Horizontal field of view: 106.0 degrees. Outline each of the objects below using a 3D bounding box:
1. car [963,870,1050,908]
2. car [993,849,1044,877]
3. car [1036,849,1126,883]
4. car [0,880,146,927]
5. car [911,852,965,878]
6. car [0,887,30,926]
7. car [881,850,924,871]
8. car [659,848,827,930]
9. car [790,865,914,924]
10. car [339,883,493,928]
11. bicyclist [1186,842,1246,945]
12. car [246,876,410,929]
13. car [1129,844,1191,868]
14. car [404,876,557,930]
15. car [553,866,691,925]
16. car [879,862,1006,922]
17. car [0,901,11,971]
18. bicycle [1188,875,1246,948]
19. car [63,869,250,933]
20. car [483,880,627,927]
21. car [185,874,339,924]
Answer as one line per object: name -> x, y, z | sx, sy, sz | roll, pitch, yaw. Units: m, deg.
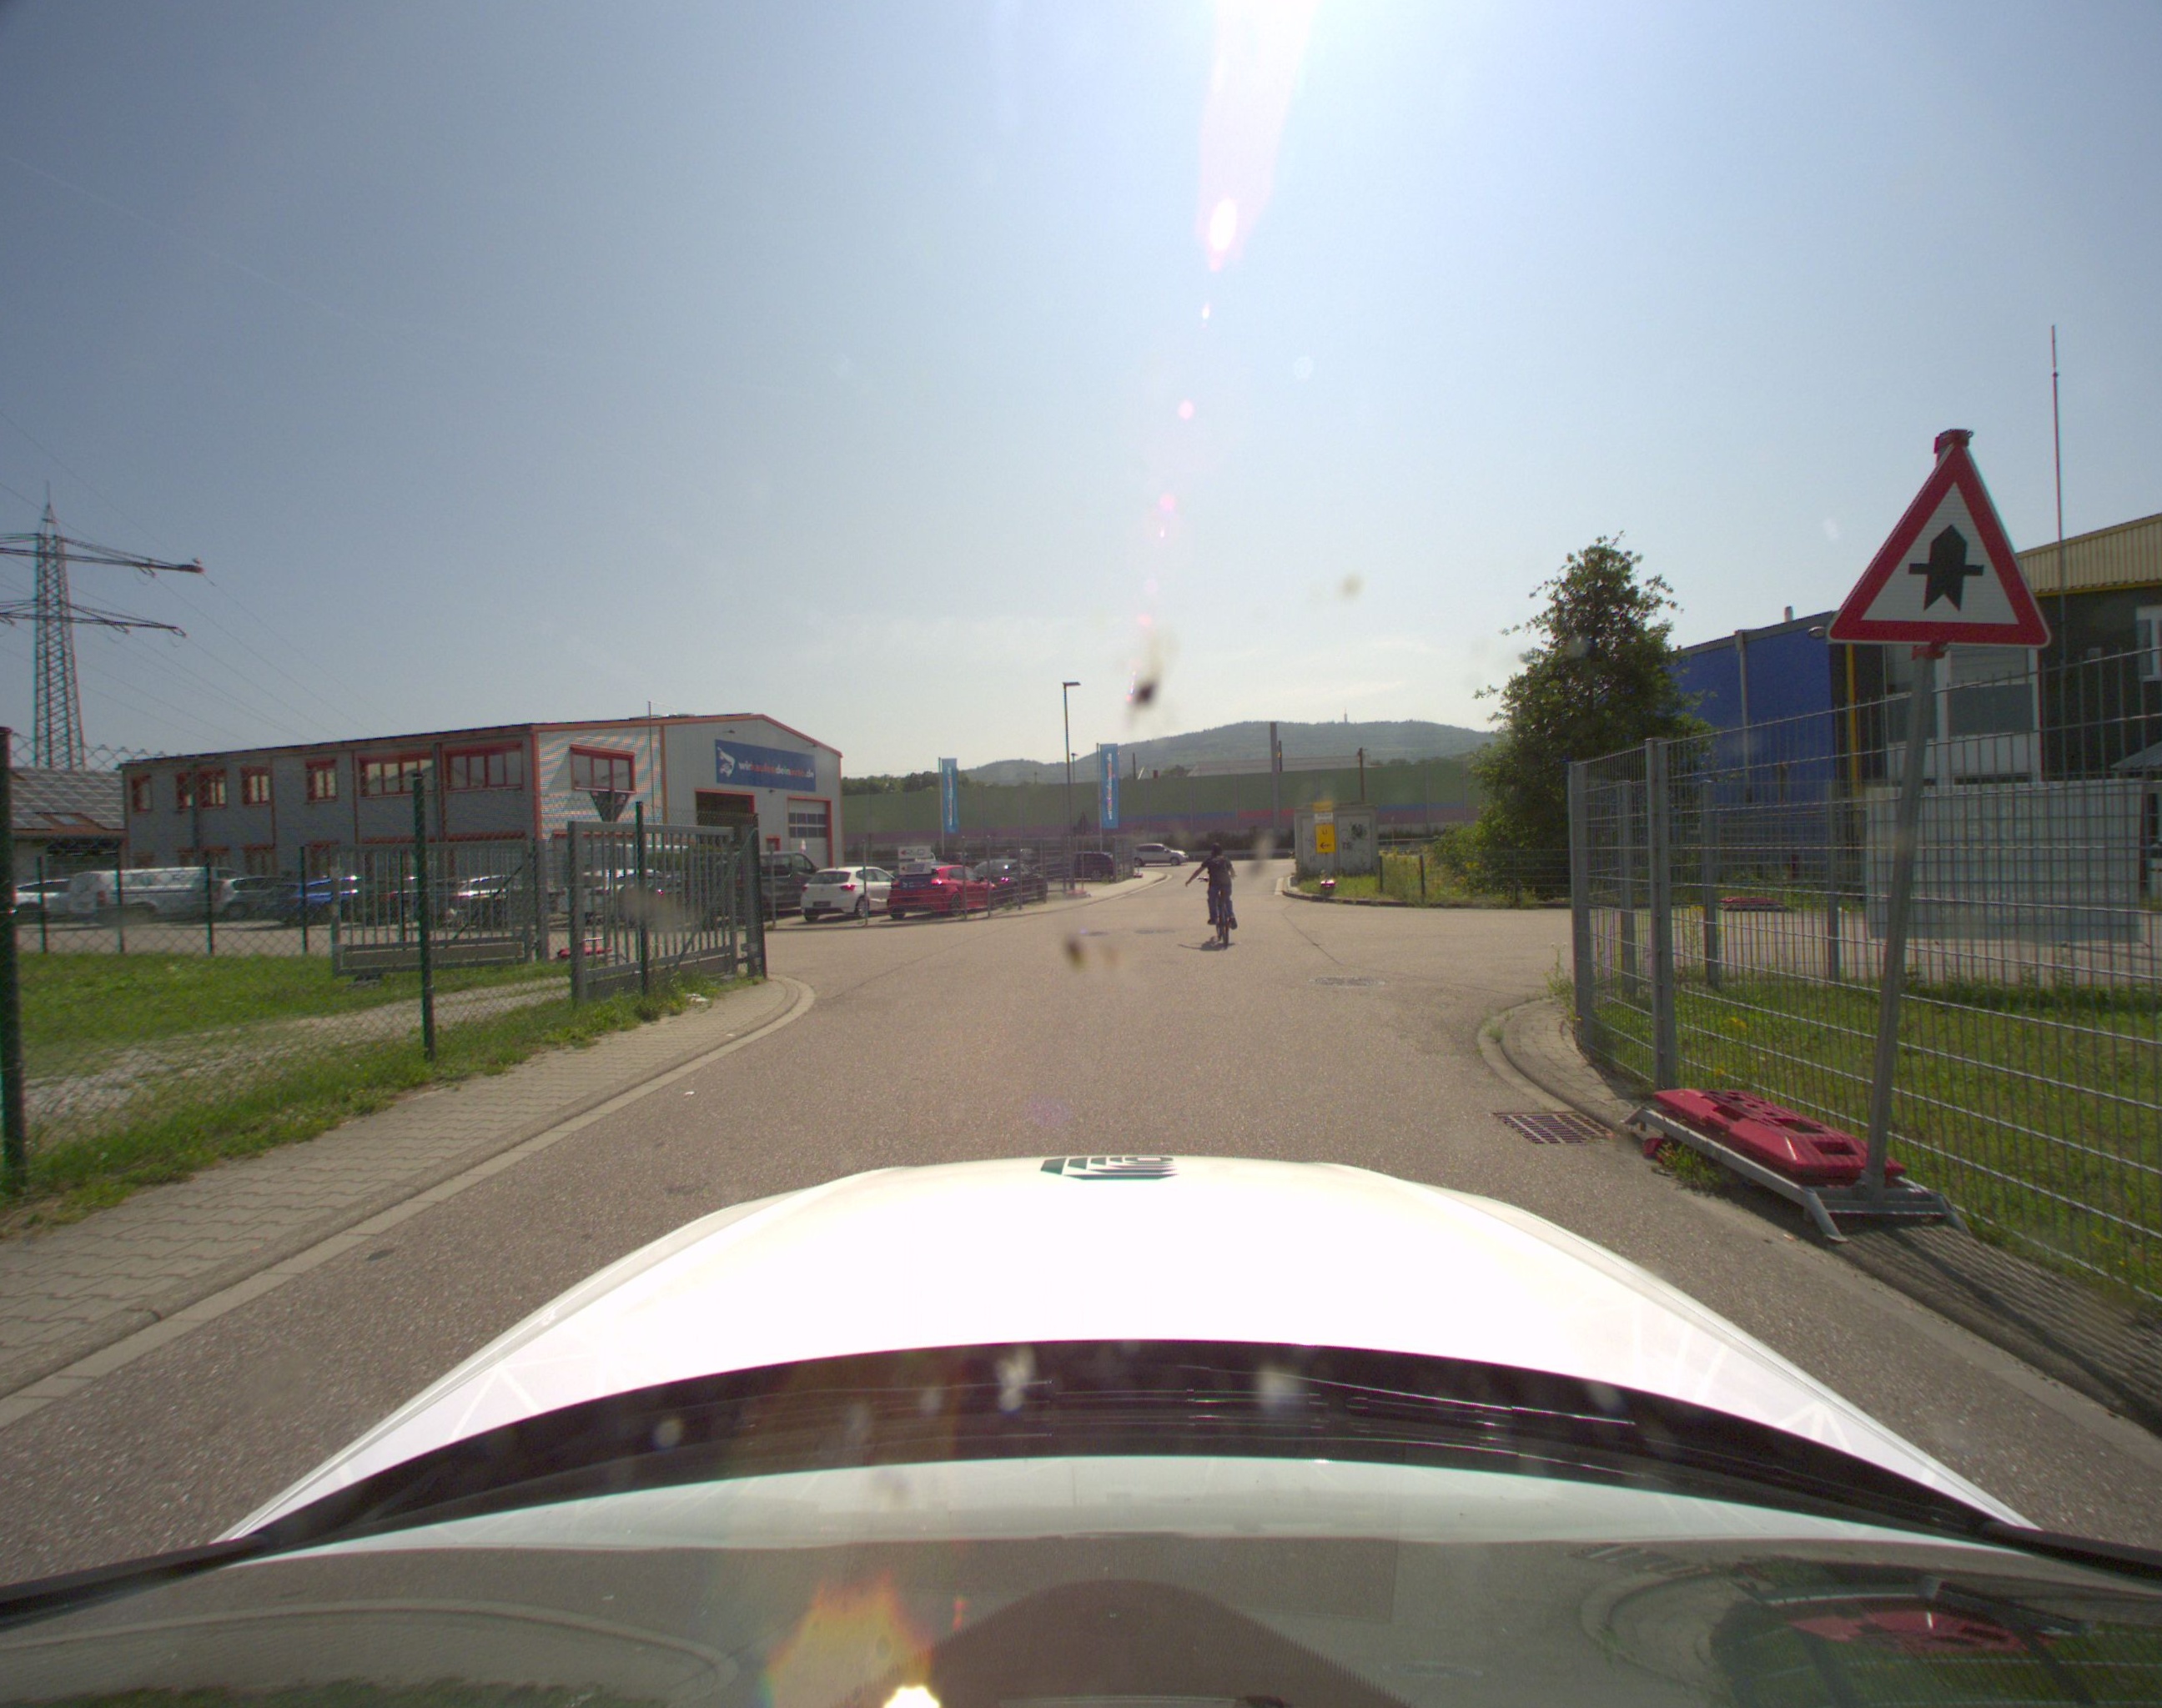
car -> -2.396, 1.135, 27.209 | 1.472, 1.007, 4.131 | -2, 0, 16
car -> -3.879, 0.509, 51.255 | 1.979, 1.581, 4.016 | -2, 0, 14
car -> 0.016, 0.586, 40.101 | 3.954, 1.492, 2.010 | -2, 0, 19
car -> -39.229, 1.873, 31.371 | 1.491, 1.516, 3.923 | -2, 0, 16
car -> -9.483, 0.693, 54.219 | 1.979, 1.581, 4.016 | -2, 0, 14
car -> -45.657, 2.225, 32.685 | 1.491, 1.559, 3.923 | -2, 0, 16
car -> -15.093, 0.555, 69.110 | 1.685, 1.657, 4.018 | -2, 0, 17
car -> -9.457, 0.902, 23.269 | 1.936, 2.030, 4.537 | -2, 0, 16
car -> -6.443, 1.112, 23.347 | 1.732, 1.404, 3.619 | -2, 0, 16
car -> -21.438, 1.619, 26.439 | 1.491, 1.151, 3.619 | -2, 0, 16
bicyclist -> 2.216, 0.635, 13.507 | 0.839, 1.618, 1.040 | -1, -1, 2
car -> -24.364, 1.527, 26.505 | 1.491, 1.416, 3.619 | -2, 0, 16
car -> 5.523, 0.105, 56.921 | 3.957, 1.492, 2.009 | -2, 0, 16
car -> -18.501, 1.462, 25.289 | 1.491, 1.381, 3.619 | -2, 0, 16
car -> -13.864, 1.206, 24.838 | 1.491, 1.539, 3.619 | -2, 0, 16
car -> -3.755, 1.008, 22.861 | 1.855, 1.386, 4.131 | -2, 0, 16
car -> -20.929, 1.560, 13.182 | 1.222, 1.261, 4.160 | -2, 0, 16
bicycle -> 2.226, 0.911, 13.547 | 0.682, 1.051, 1.902 | -2, 0, 2
car -> -32.663, 1.609, 28.938 | 1.804, 1.978, 3.923 | -2, 0, 16
car -> -16.101, 1.487, 25.139 | 1.491, 1.151, 3.619 | -2, 0, 16
car -> -29.523, 1.588, 29.493 | 1.491, 1.544, 3.619 | -2, 0, 16
